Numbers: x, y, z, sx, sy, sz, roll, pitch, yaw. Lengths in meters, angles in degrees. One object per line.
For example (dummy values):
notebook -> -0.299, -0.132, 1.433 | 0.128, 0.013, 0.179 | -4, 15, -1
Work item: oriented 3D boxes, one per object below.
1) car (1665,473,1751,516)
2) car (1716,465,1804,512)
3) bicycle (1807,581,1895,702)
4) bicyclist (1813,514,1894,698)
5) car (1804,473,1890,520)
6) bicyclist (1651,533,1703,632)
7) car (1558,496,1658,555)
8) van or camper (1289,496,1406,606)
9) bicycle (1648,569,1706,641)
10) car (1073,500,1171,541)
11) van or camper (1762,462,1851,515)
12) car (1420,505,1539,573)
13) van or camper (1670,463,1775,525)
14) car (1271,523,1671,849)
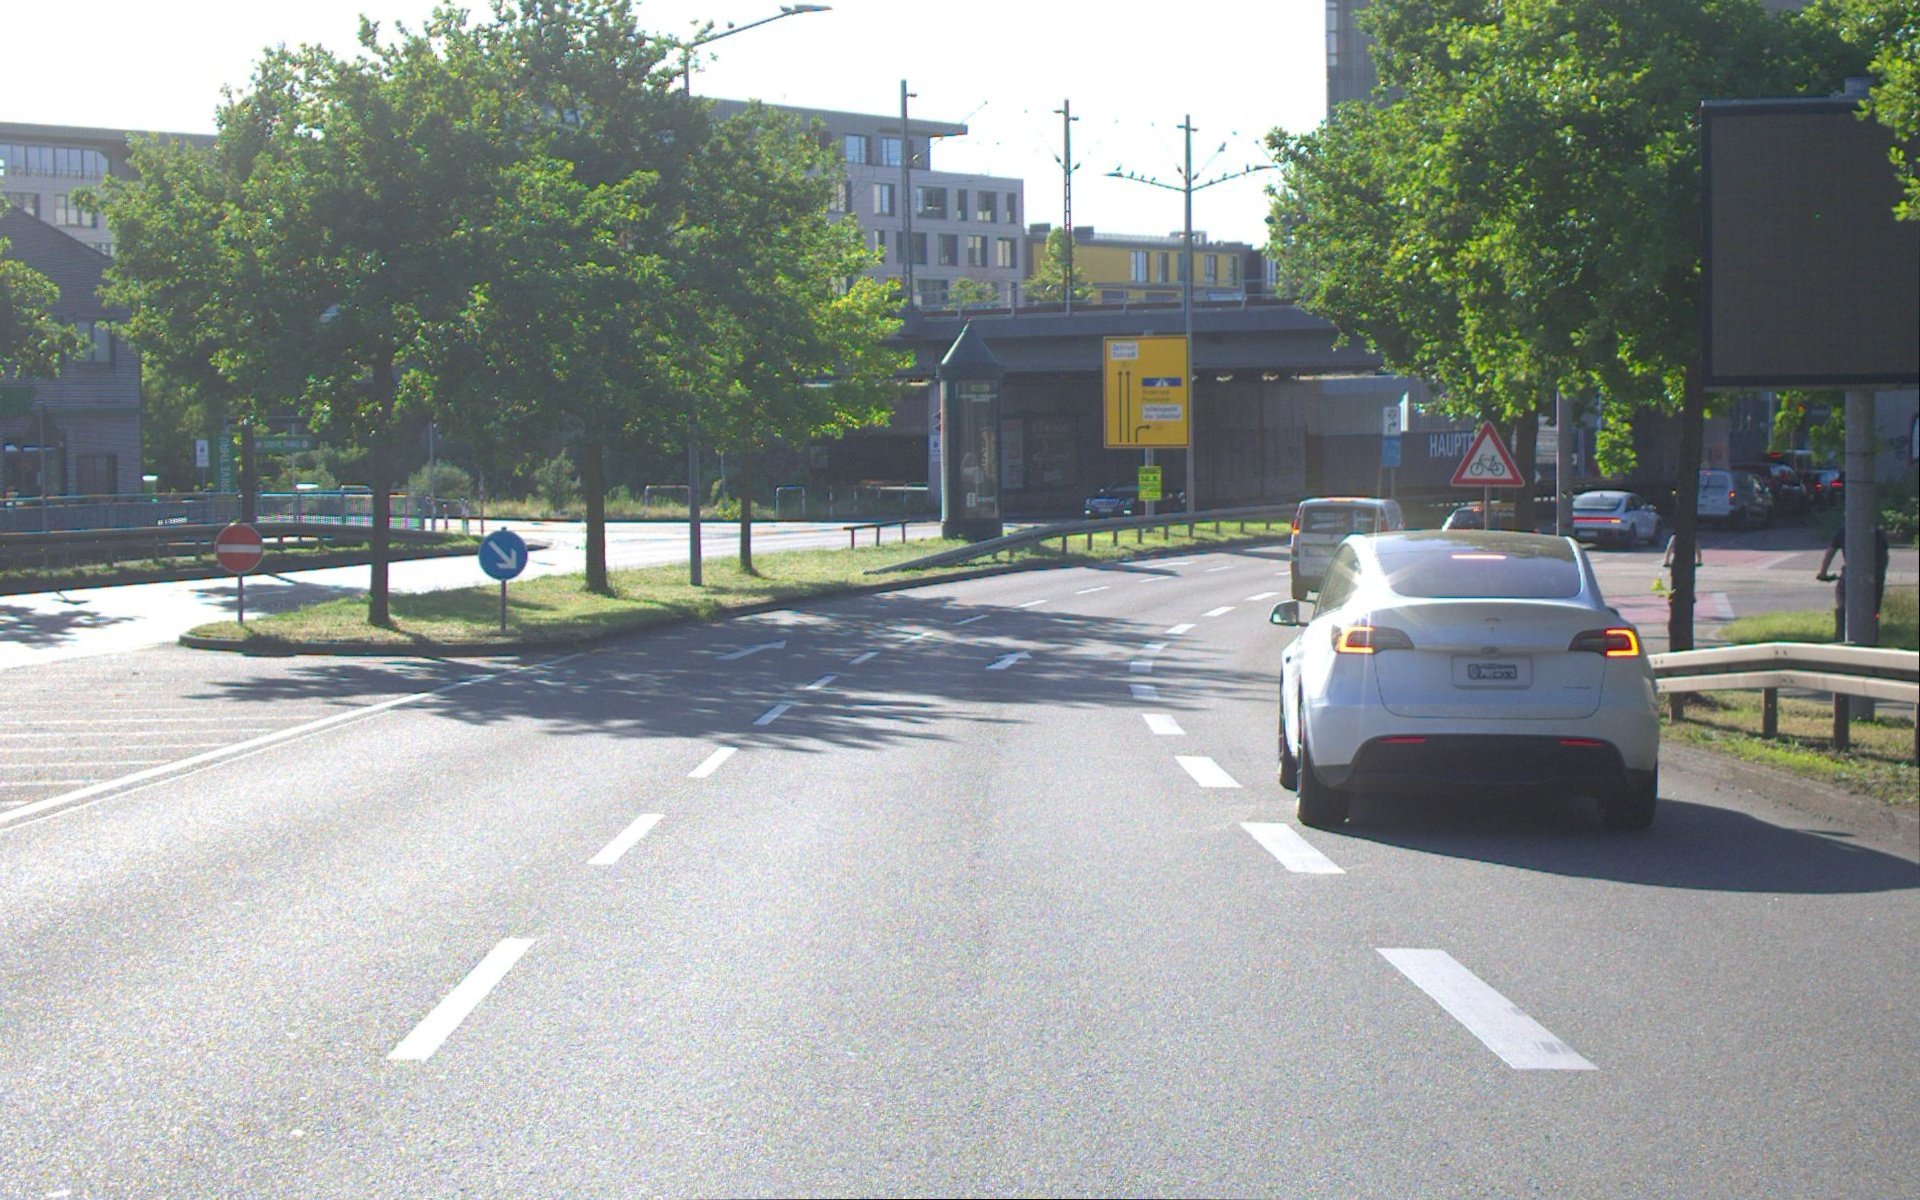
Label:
car -> 26.602, -3.766, 122.186 | 1.711, 1.447, 3.736 | 2, 3, 33
car -> 27.159, -3.798, 116.694 | 1.711, 1.517, 3.736 | 2, 3, 33
bicycle -> 8.828, 0.396, 34.103 | 0.695, 1.091, 2.117 | -1, 1, 11
bicyclist -> 8.781, 0.049, 33.824 | 0.675, 1.770, 0.948 | -1, 1, 11
car -> 30.201, -3.540, 116.979 | 1.711, 1.517, 3.736 | 2, 3, 33
bicyclist -> 12.026, -0.301, 57.664 | 0.746, 1.613, 0.912 | -1, 1, 17
car -> 17.313, -2.007, 91.744 | 1.765, 1.470, 4.284 | 1, 3, 22
van or camper -> 7.294, -0.956, 64.346 | 1.959, 1.877, 4.879 | 1, 3, 9
bicycle -> 12.061, 0.074, 57.798 | 0.743, 1.108, 2.450 | -1, 2, 16
car -> 5.365, -2.627, 113.093 | 1.802, 1.305, 4.610 | 2, 2, 22
van or camper -> 30.253, -4.003, 122.775 | 1.757, 1.807, 3.951 | 2, 3, 35
car -> 12.208, -1.450, 80.648 | 1.607, 1.429, 3.673 | 3, 4, 28
van or camper -> 23.233, -3.244, 104.655 | 1.829, 1.784, 4.538 | 3, 3, 29
car -> 2.802, 0.444, 19.735 | 1.914, 1.635, 4.409 | 1, 0, 4
